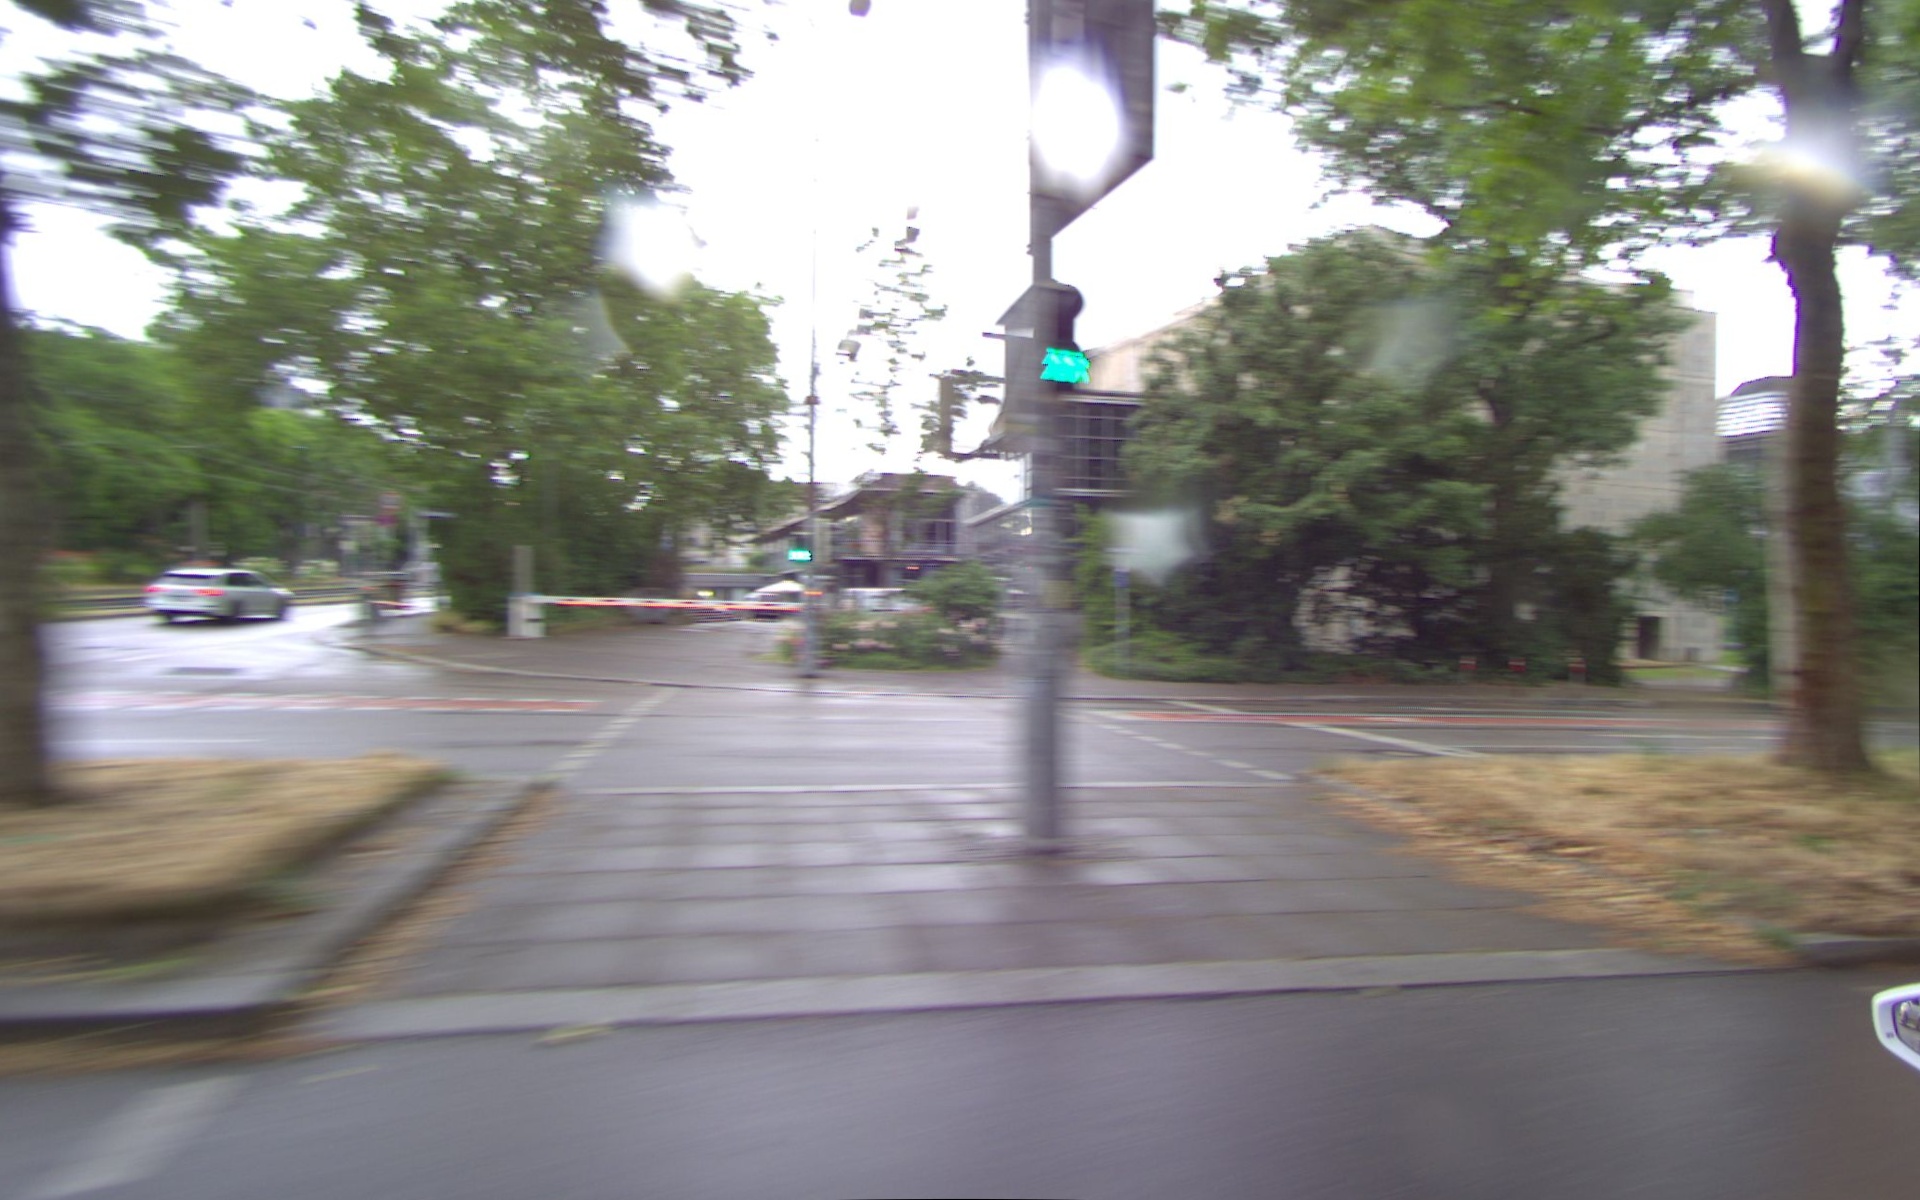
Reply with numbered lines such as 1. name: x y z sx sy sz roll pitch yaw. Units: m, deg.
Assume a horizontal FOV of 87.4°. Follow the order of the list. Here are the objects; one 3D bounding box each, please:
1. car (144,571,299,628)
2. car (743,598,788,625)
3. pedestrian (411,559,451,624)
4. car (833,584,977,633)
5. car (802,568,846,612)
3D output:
1. car: -20.655 -0.026 28.338 1.770 1.462 4.465 -1 0 -12
2. car: -12.211 0.701 63.351 1.986 1.572 4.349 1 1 0
3. pedestrian: -17.049 -0.282 32.407 0.802 2.041 1.075 -1 1 -10
4. car: -2.048 0.317 37.986 5.149 1.754 1.861 1 1 -27
5. car: -8.990 -0.709 66.963 2.689 2.731 6.914 1 1 -6
